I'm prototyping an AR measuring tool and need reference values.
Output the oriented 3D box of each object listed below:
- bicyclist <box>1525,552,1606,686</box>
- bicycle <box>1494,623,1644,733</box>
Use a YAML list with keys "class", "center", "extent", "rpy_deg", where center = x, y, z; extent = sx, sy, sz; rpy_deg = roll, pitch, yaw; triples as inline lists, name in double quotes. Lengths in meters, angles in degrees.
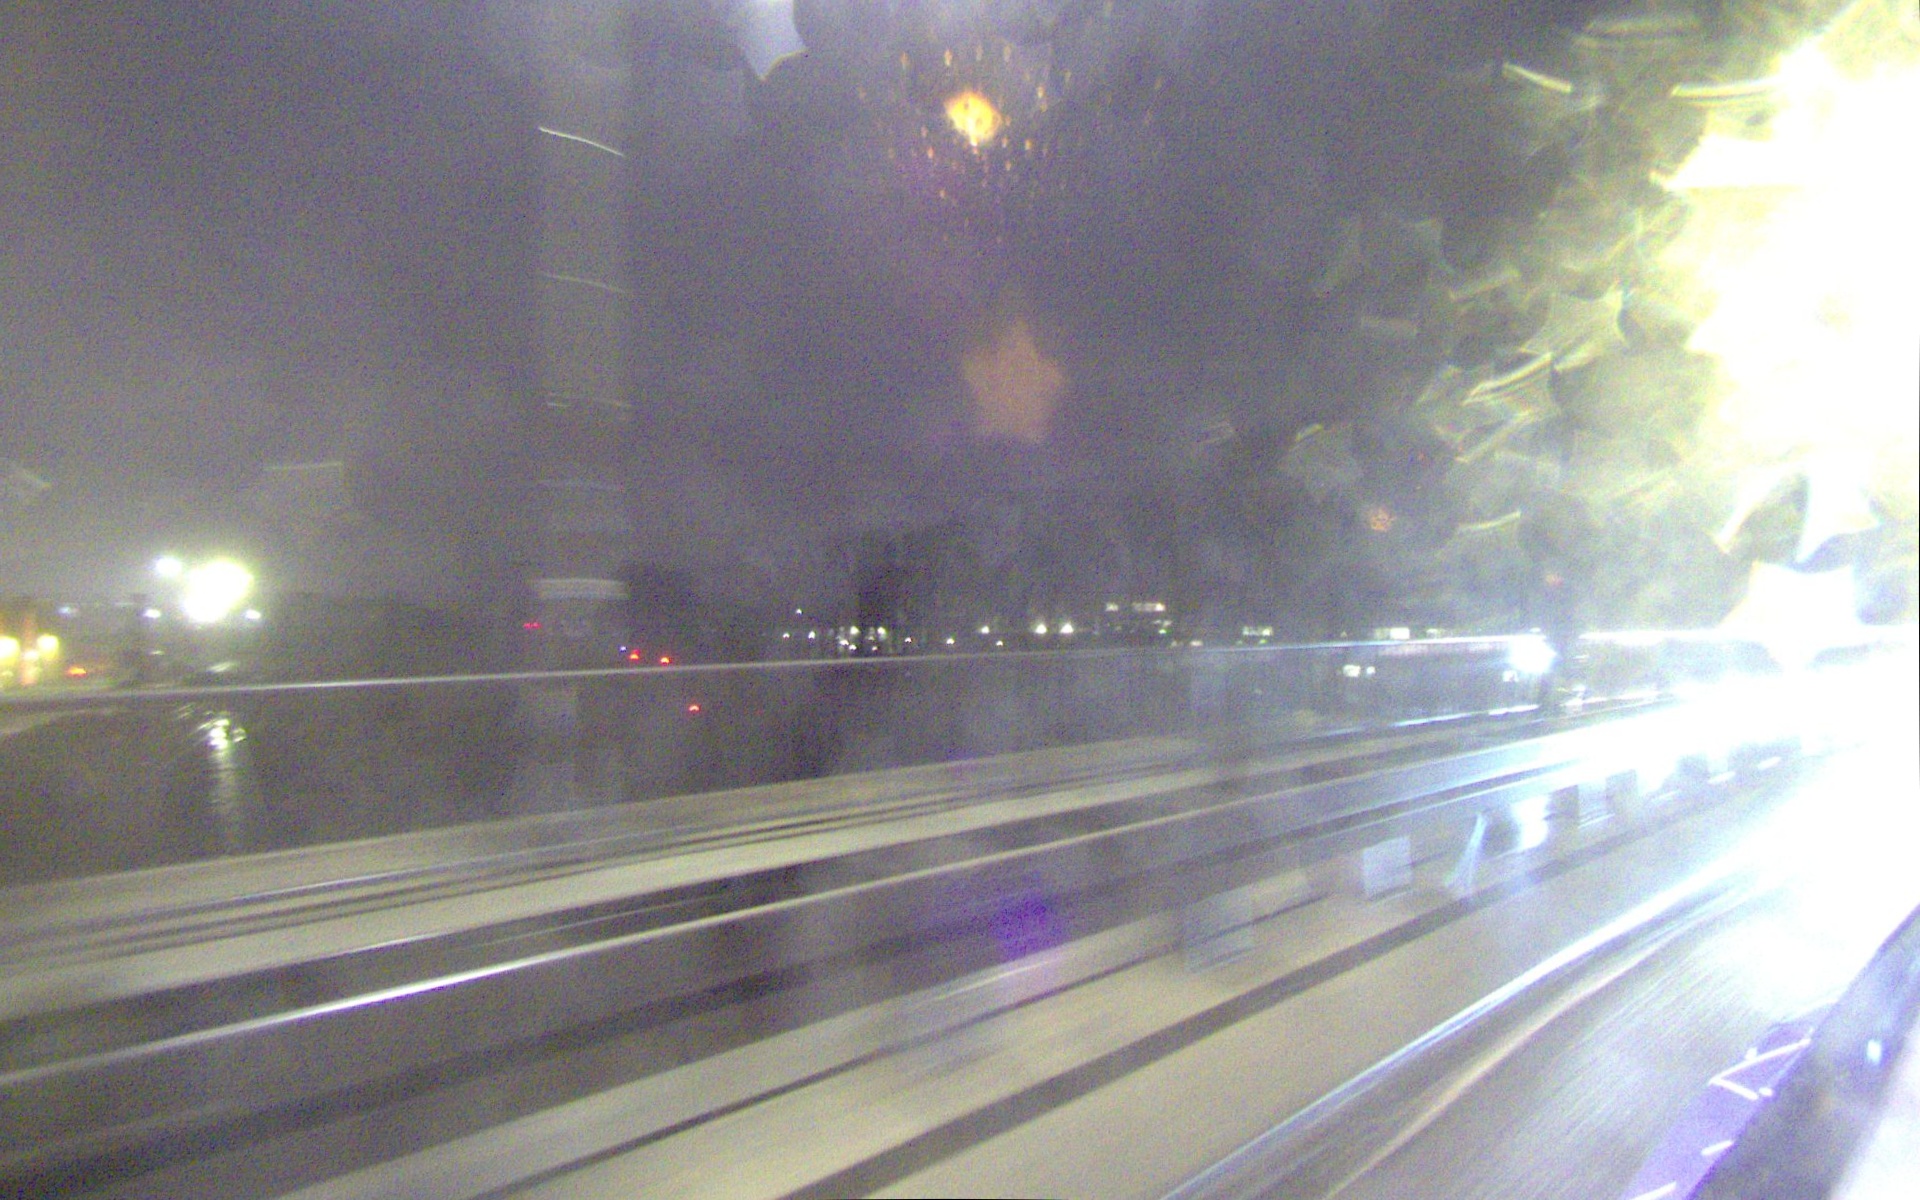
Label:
- class: "bicyclist"
  center: [6.419, 0.199, 10.731]
  extent: [0.749, 1.366, 0.454]
  rpy_deg: [1, -1, -33]
- class: "bicycle"
  center: [6.541, 0.787, 10.825]
  extent: [2.130, 1.047, 0.486]
  rpy_deg: [0, 1, -33]
